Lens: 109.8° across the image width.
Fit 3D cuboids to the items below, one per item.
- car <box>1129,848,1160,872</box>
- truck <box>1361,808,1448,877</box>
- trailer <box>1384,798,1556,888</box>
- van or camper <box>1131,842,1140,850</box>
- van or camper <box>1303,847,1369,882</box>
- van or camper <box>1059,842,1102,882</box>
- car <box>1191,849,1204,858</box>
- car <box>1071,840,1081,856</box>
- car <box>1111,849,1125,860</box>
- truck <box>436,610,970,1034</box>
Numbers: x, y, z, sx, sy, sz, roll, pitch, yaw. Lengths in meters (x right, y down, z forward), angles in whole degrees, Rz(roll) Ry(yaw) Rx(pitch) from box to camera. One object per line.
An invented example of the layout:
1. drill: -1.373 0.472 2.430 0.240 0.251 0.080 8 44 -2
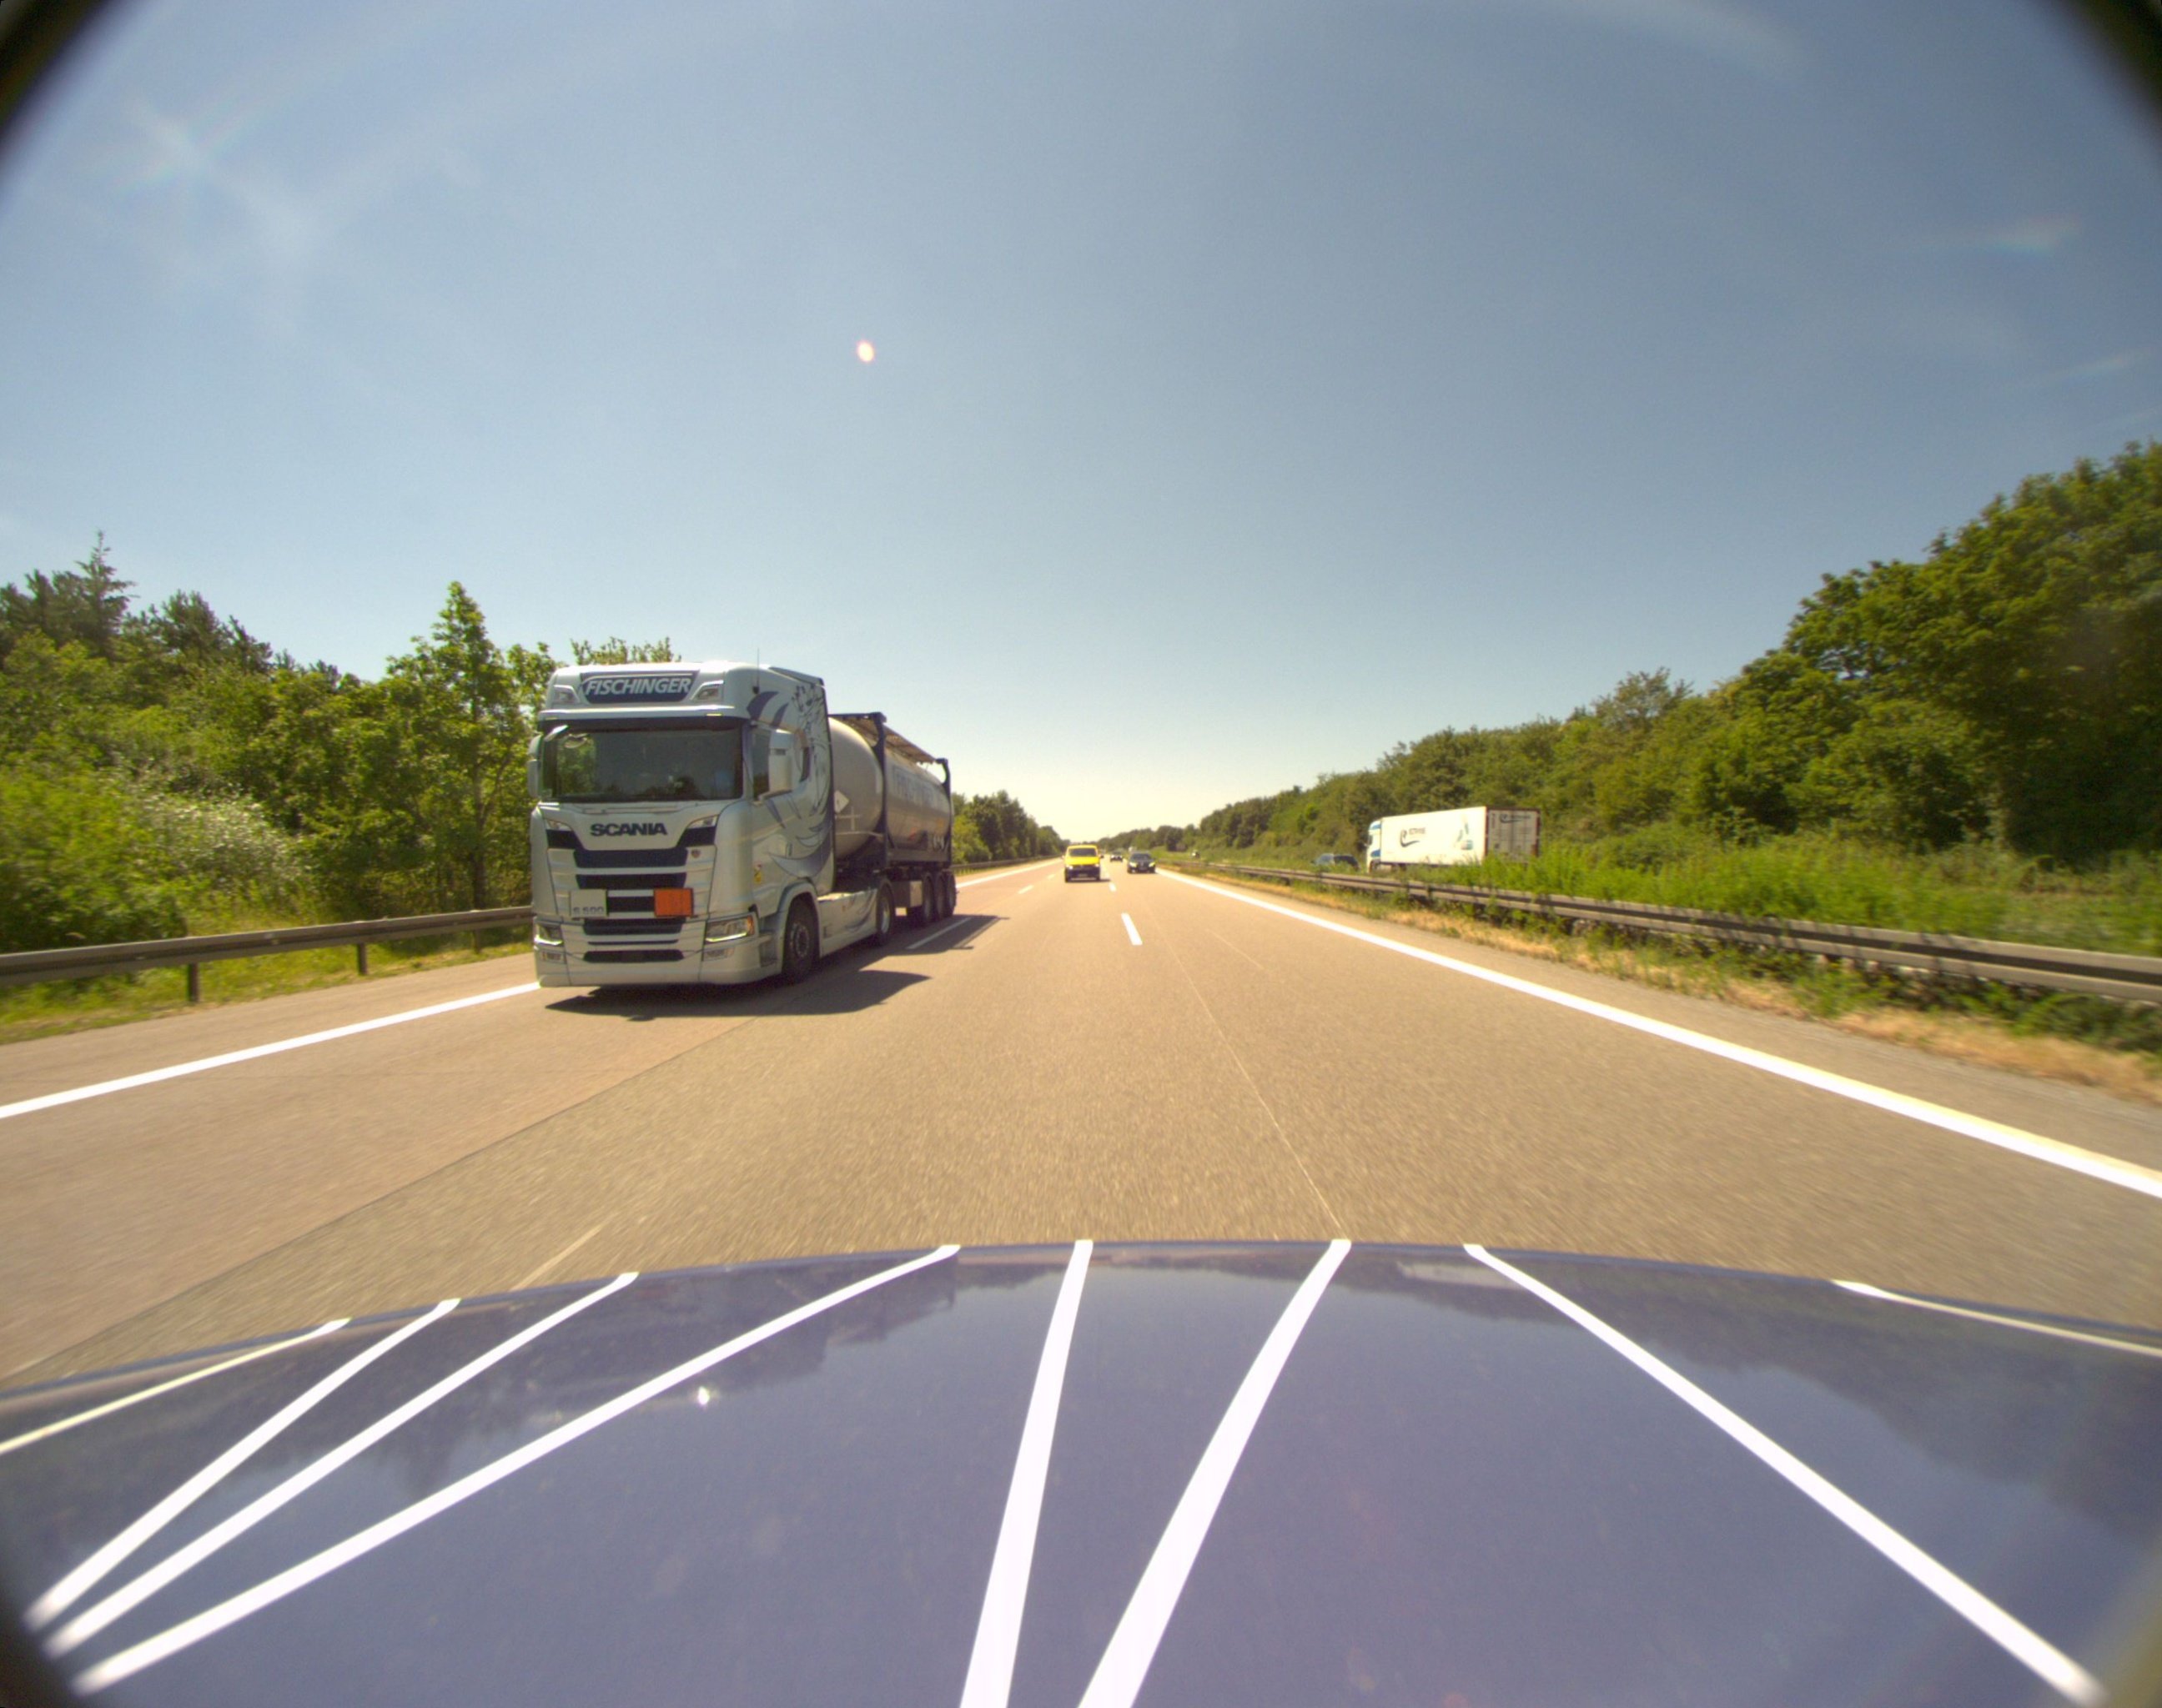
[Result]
1. car: 4.405 0.402 53.226 1.894 1.541 4.039 1 1 1
2. truck: 21.247 -0.749 50.249 3.201 4.125 5.943 -2 1 1
3. trailer: 21.108 -0.612 42.705 3.183 4.166 12.986 -2 1 1
4. van or camper: 17.049 -2.638 239.003 2.431 2.352 6.336 -2 1 1
5. van or camper: 13.490 0.492 40.521 1.998 1.740 5.058 -1 1 2
6. van or camper: 0.065 0.358 41.514 2.063 1.992 5.884 -1 1 2
7. car: 23.644 -0.105 154.185 1.998 1.904 4.303 -1 1 1
8. car: -1.197 -1.605 199.106 2.298 3.886 9.268 1 1 1
9. car: 5.319 0.086 110.416 1.894 1.541 4.039 1 1 1
10. truck: -4.658 -0.370 14.077 2.805 4.023 13.353 -2 1 1
